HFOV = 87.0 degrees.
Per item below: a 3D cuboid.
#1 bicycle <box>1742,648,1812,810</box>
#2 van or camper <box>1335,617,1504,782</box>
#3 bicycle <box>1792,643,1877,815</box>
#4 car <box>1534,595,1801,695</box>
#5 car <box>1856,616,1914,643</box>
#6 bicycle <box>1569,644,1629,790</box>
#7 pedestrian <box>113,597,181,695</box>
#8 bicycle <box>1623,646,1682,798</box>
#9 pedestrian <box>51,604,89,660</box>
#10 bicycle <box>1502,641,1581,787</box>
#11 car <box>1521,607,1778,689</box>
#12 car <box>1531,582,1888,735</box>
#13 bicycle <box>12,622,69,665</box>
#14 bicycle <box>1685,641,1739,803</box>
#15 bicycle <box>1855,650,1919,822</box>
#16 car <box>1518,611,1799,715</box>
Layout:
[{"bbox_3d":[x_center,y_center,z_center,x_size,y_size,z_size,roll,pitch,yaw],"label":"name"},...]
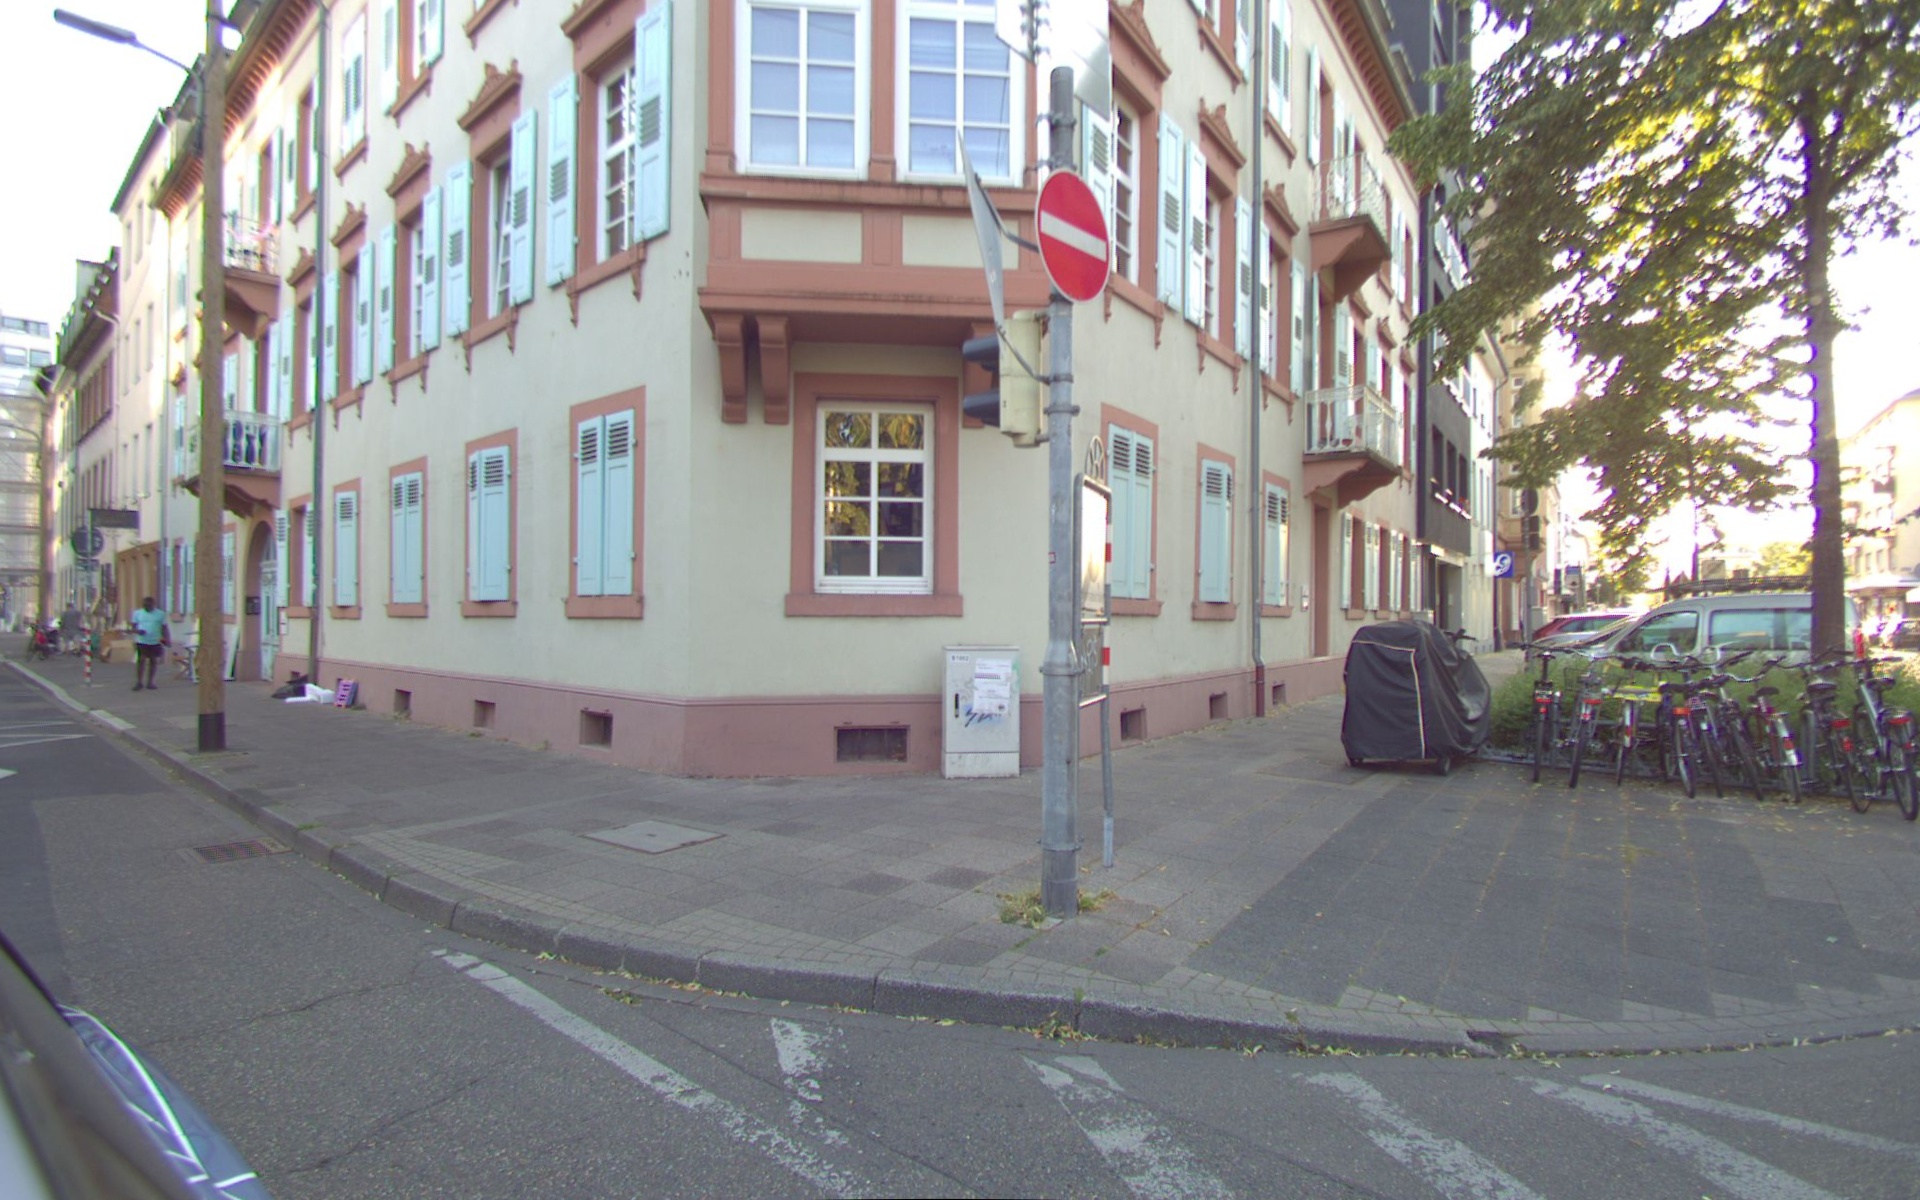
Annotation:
[{"bbox_3d":[6.316,0.943,7.856,0.319,1.090,1.577,2,0,36],"label":"bicycle"},{"bbox_3d":[4.096,0.803,8.945,0.943,1.269,1.821,1,-1,38],"label":"van or camper"},{"bbox_3d":[6.664,0.924,7.748,0.331,1.149,1.577,2,0,36],"label":"bicycle"},{"bbox_3d":[12.758,0.755,18.432,3.832,1.597,1.719,1,-1,37],"label":"car"},{"bbox_3d":[49.843,1.574,54.593,1.634,1.435,3.715,-1,-2,33],"label":"car"},{"bbox_3d":[5.350,0.923,8.449,0.322,1.090,1.577,0,-2,36],"label":"bicycle"},{"bbox_3d":[-14.821,0.813,18.453,0.649,1.709,0.815,-1,1,42],"label":"pedestrian"},{"bbox_3d":[5.653,0.934,8.236,0.341,1.090,1.577,-1,-2,36],"label":"bicycle"},{"bbox_3d":[-27.625,0.982,31.401,0.649,1.709,0.815,-1,-1,42],"label":"pedestrian"},{"bbox_3d":[4.984,0.916,8.643,0.396,1.090,1.577,2,0,36],"label":"bicycle"},{"bbox_3d":[13.971,0.936,20.815,4.206,1.528,1.743,-1,-1,31],"label":"car"},{"bbox_3d":[10.329,0.751,14.214,3.817,1.863,1.678,-1,-2,38],"label":"car"},{"bbox_3d":[-25.999,1.215,28.640,0.649,1.179,1.613,0,-1,-21],"label":"bicycle"},{"bbox_3d":[5.984,0.912,8.074,0.312,1.157,1.592,0,-2,36],"label":"bicycle"},{"bbox_3d":[6.971,0.951,7.443,0.396,1.116,1.691,2,0,36],"label":"bicycle"},{"bbox_3d":[11.415,0.959,16.664,3.658,1.526,1.627,-1,-1,40],"label":"car"}]
